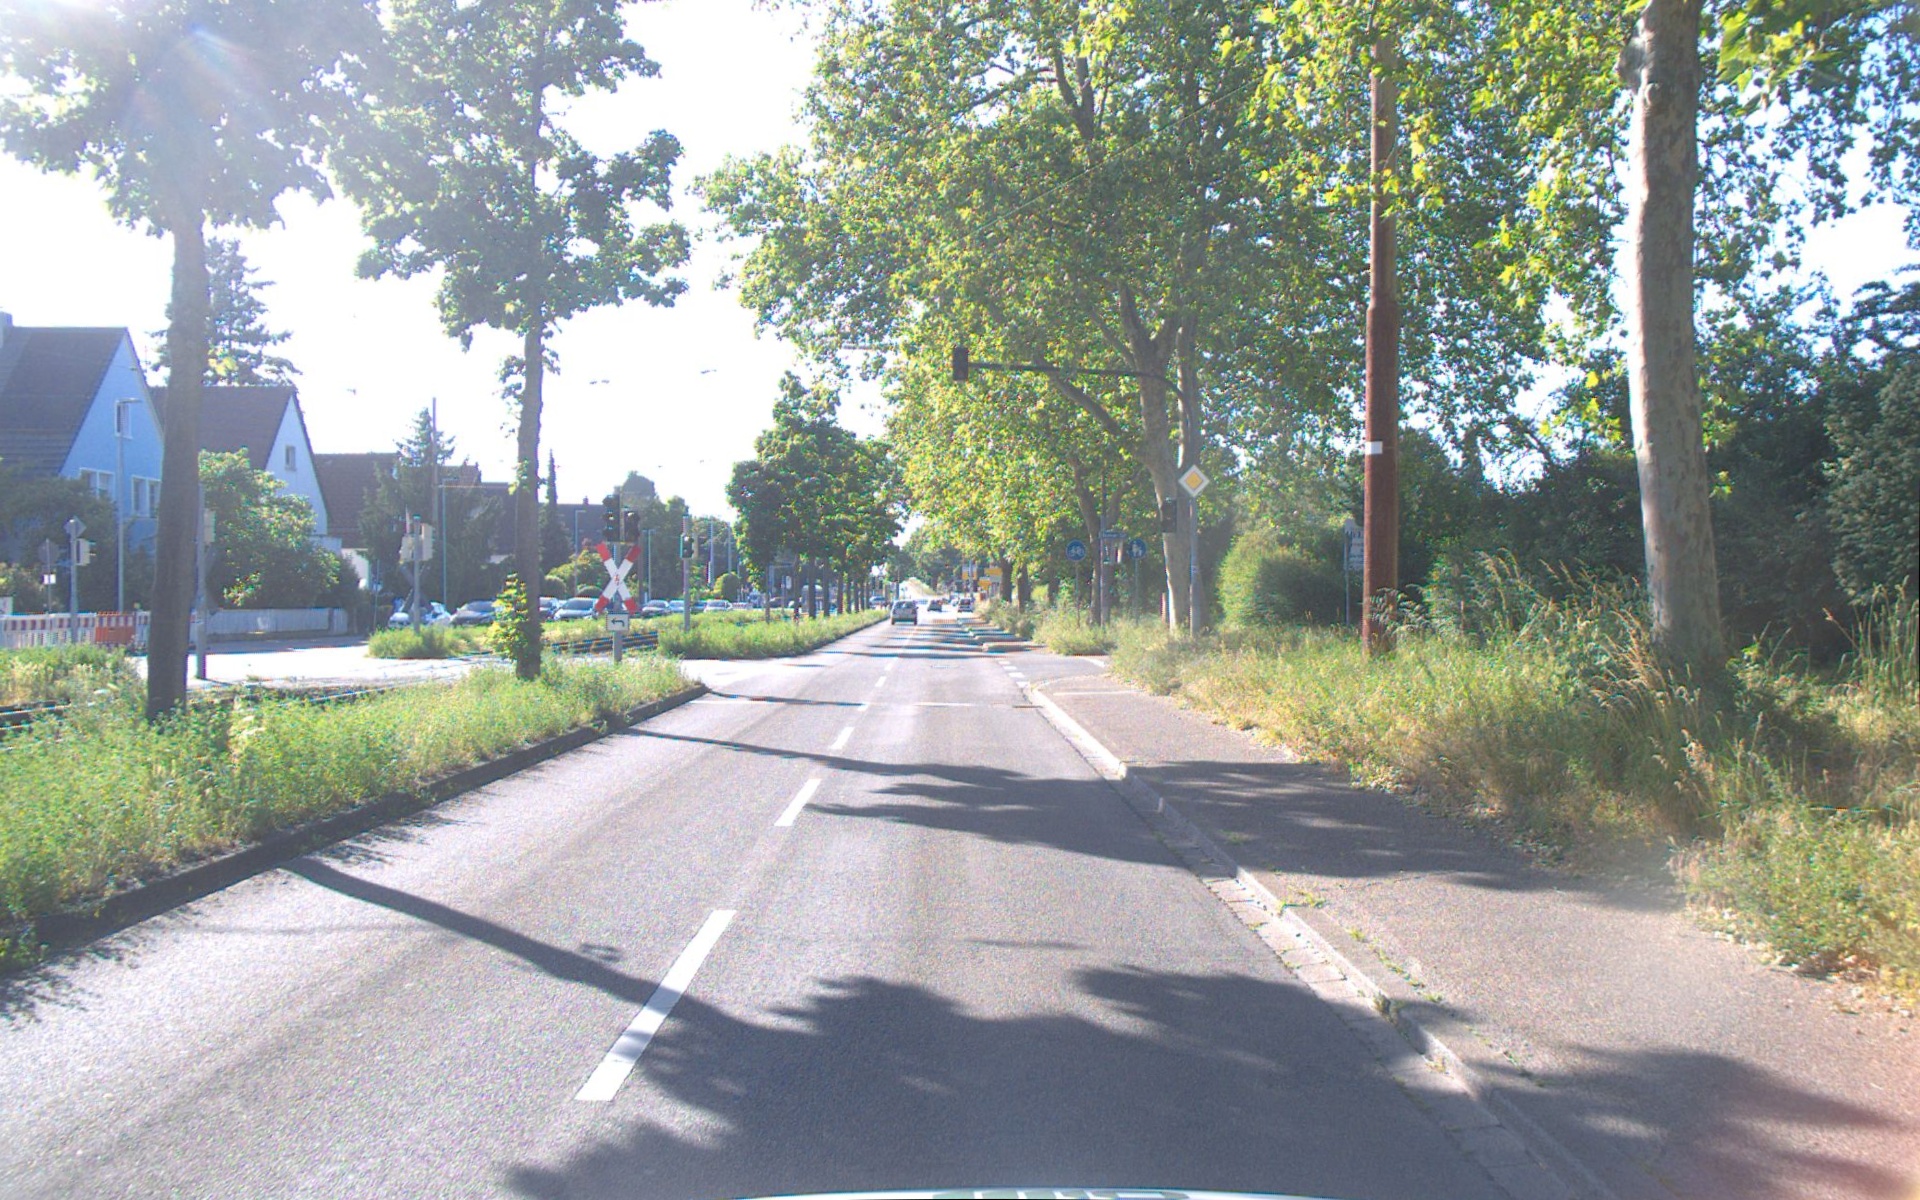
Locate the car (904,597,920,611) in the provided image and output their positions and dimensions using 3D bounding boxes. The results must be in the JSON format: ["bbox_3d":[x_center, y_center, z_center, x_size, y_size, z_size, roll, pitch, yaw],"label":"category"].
[{"bbox_3d":[-6.083,0.515,208.267,1.953,1.631,4.472,1,0,-1],"label":"car"}]

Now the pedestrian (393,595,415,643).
[{"bbox_3d":[-24.195,0.818,71.939,0.667,2.049,0.772,1,-1,-1],"label":"pedestrian"}]

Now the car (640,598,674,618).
[{"bbox_3d":[-22.790,0.601,124.618,1.822,1.438,4.157,1,0,-1],"label":"car"}]

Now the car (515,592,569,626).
[{"bbox_3d":[-21.911,0.480,86.870,1.712,1.679,4.554,1,0,-1],"label":"car"}]

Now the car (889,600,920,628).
[{"bbox_3d":[-3.355,0.838,100.881,1.822,1.629,4.226,1,0,-1],"label":"car"}]

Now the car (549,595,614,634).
[{"bbox_3d":[-17.002,0.643,74.505,1.953,1.631,4.472,1,0,-1],"label":"car"}]

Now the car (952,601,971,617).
[{"bbox_3d":[0.140,0.937,173.800,1.953,1.631,4.472,1,0,-1],"label":"car"}]

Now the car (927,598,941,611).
[{"bbox_3d":[-3.248,0.581,205.060,1.755,1.586,4.226,1,0,-1],"label":"car"}]

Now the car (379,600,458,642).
[{"bbox_3d":[-21.738,0.827,66.540,1.822,1.569,4.226,1,0,-1],"label":"car"}]

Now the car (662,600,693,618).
[{"bbox_3d":[-22.942,0.725,134.468,1.822,1.456,4.460,1,0,-1],"label":"car"}]

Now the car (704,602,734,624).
[{"bbox_3d":[-17.915,0.930,123.141,1.627,1.579,4.809,1,0,-1],"label":"car"}]

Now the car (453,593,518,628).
[{"bbox_3d":[-21.530,0.474,75.260,1.694,1.491,4.601,1,0,-1],"label":"car"}]
